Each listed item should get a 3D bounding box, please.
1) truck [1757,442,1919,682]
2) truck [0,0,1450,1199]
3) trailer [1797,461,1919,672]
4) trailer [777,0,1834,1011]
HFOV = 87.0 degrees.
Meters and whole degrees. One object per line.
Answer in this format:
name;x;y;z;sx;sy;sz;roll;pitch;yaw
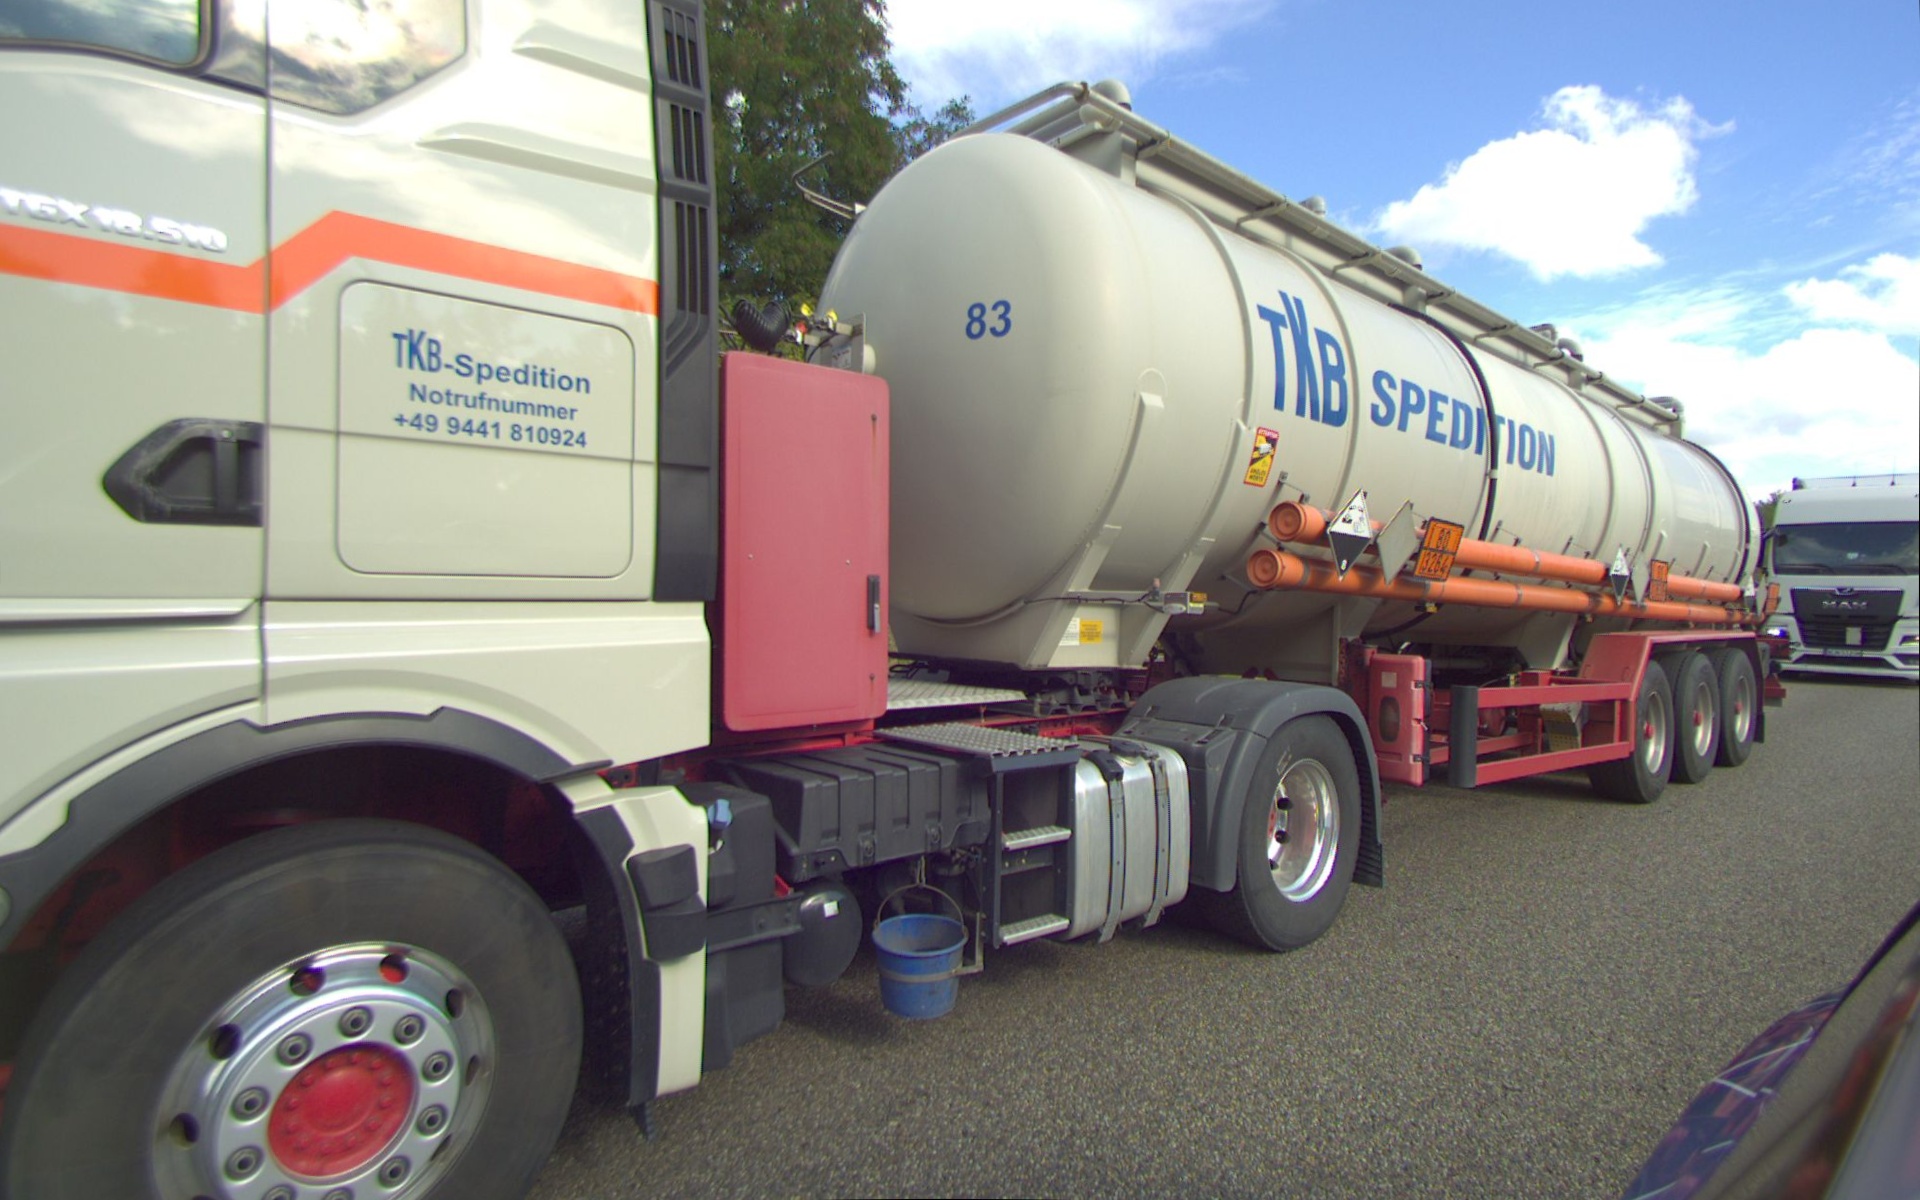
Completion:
truck;18.043;-0.667;19.801;5.607;4.123;2.839;0;0;-41
truck;-0.844;-0.697;3.845;5.800;4.094;2.808;0;0;-41
trailer;23.499;-0.683;24.482;13.136;4.122;2.831;0;0;-41
trailer;4.063;-0.691;8.065;10.985;4.077;2.803;0;0;-41
